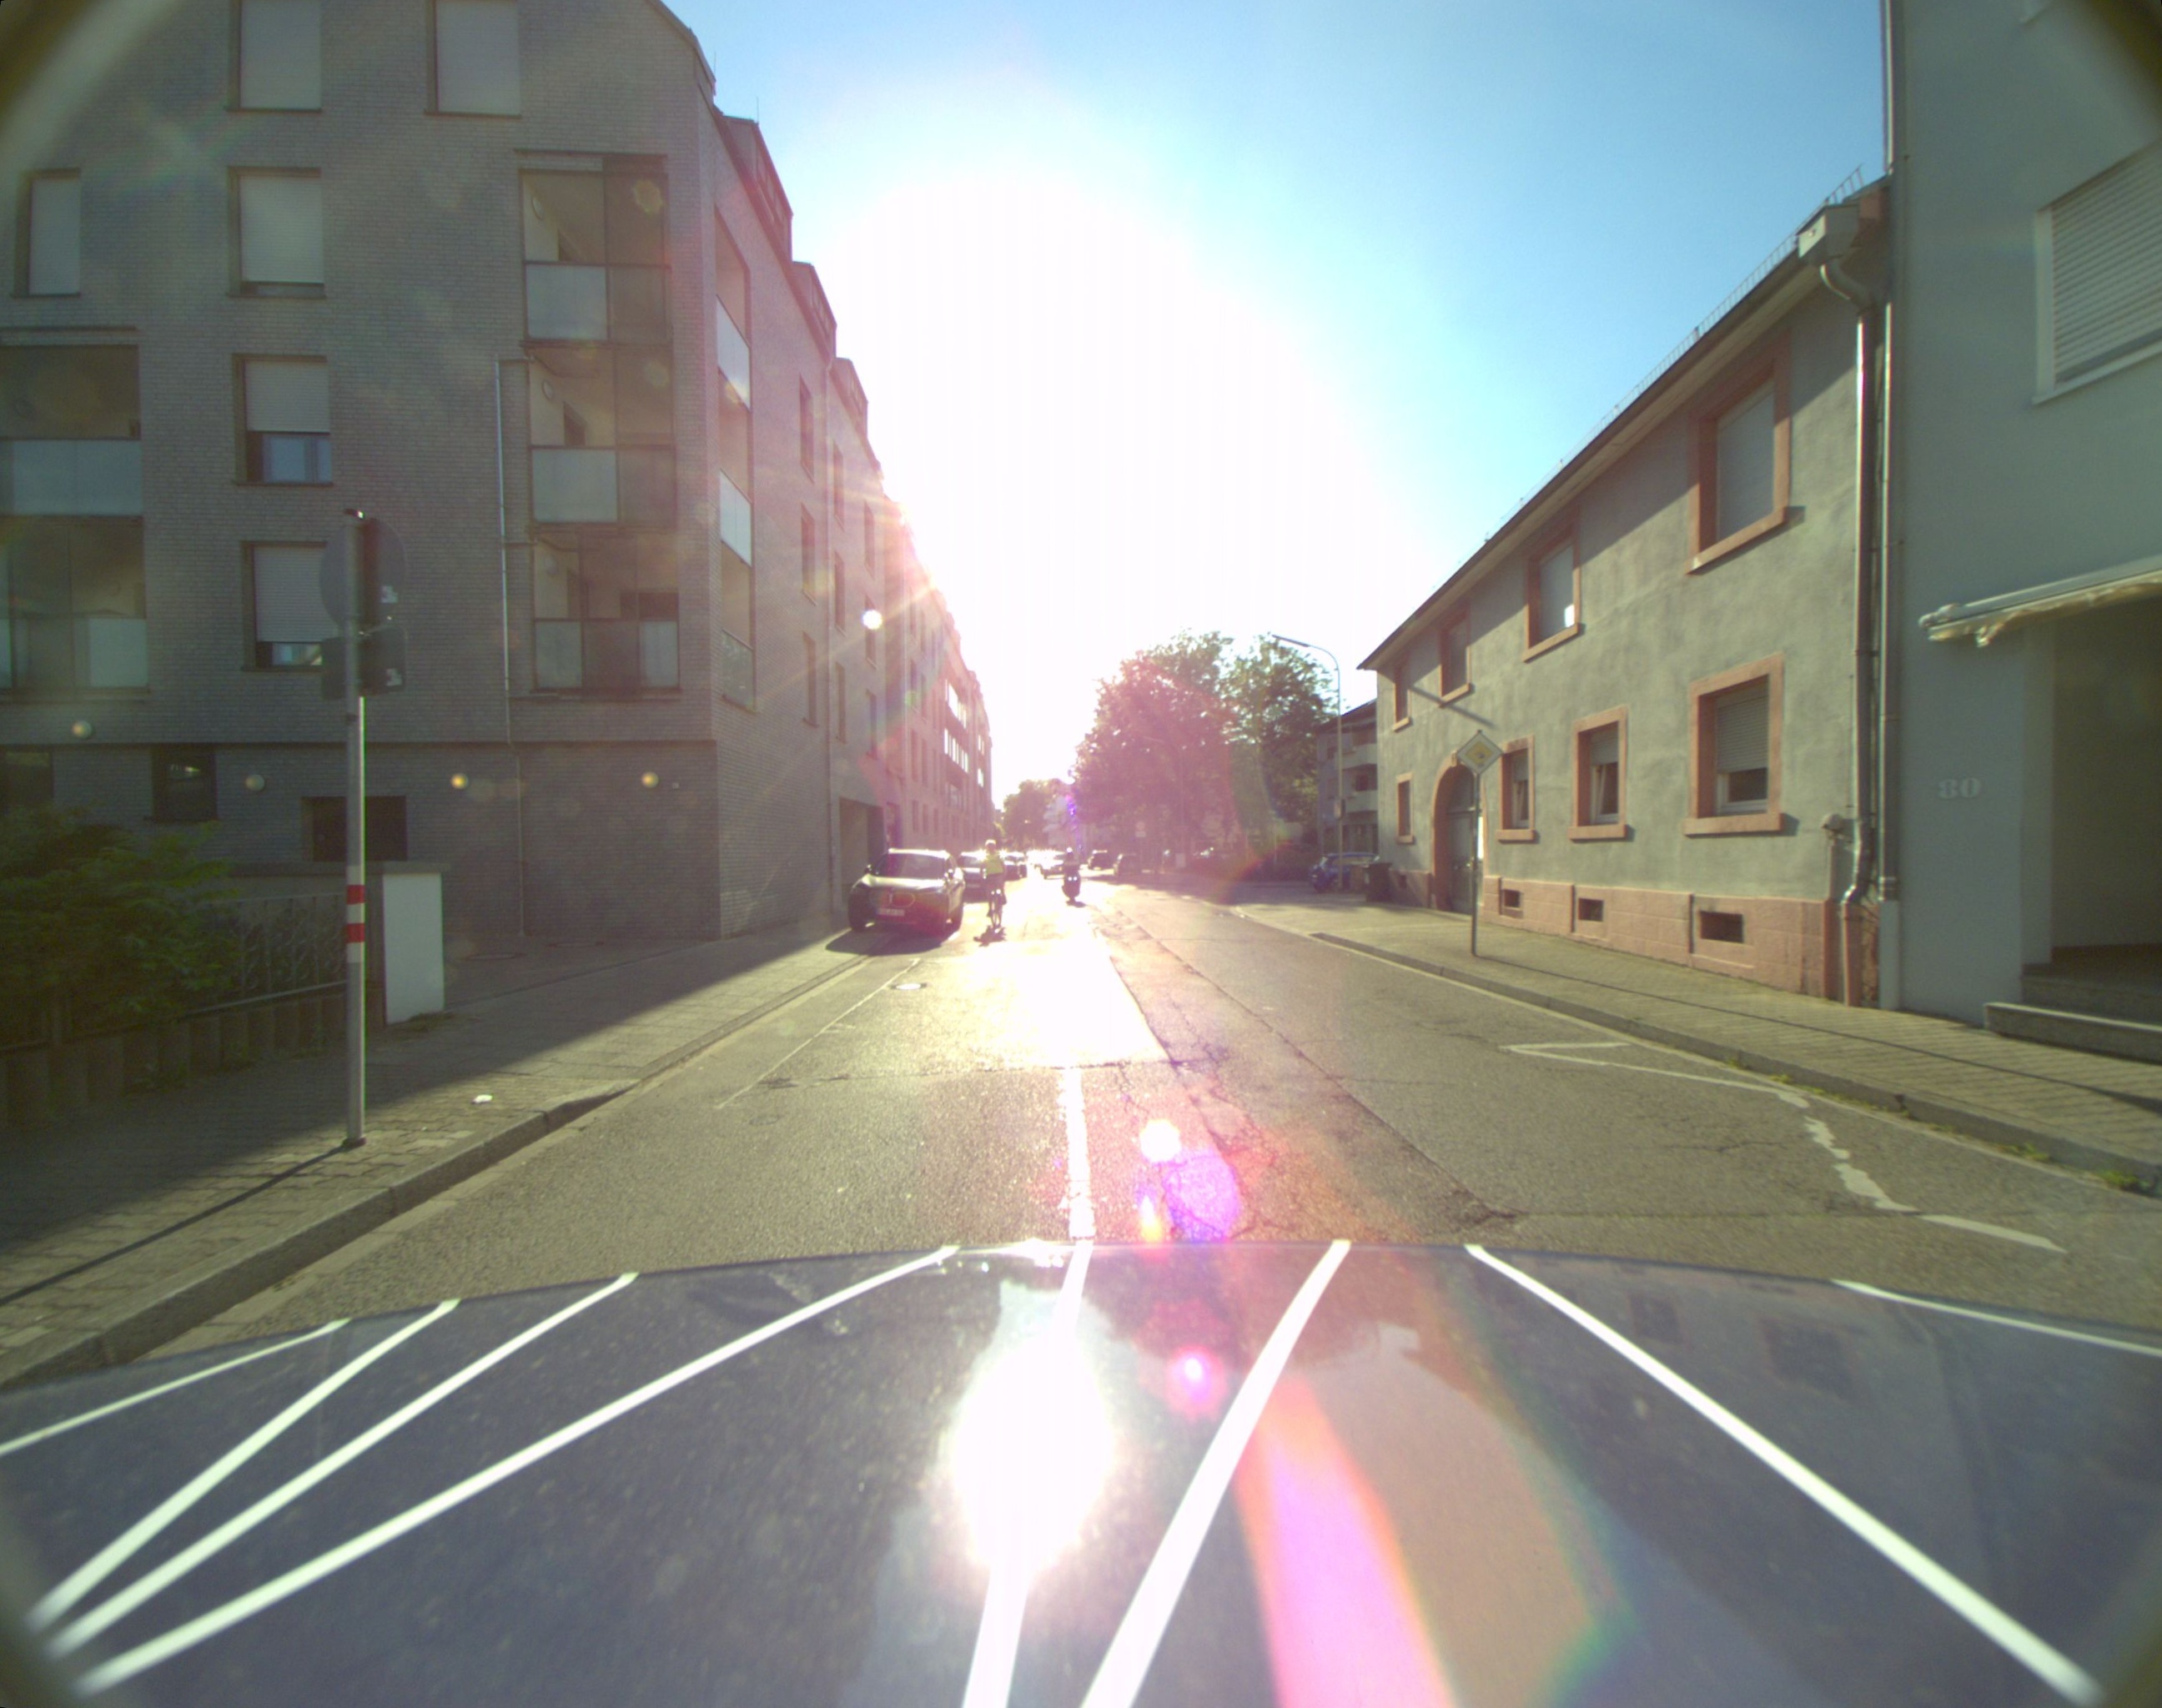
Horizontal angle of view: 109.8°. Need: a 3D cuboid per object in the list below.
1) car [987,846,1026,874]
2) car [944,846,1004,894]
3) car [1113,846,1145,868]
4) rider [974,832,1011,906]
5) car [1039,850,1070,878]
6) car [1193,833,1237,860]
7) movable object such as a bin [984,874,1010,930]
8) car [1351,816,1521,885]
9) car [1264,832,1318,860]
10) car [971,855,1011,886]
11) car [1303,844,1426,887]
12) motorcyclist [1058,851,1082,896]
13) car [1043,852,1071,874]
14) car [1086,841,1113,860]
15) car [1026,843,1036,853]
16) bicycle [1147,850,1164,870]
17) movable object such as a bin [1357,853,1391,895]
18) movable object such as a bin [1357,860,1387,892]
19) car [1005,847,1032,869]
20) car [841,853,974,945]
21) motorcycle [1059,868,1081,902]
[{"bbox_3d":[-4.811,0.346,49.661,1.894,1.702,4.774,-1,0,1],"label":"car"},{"bbox_3d":[-3.985,0.551,28.991,1.999,1.643,4.760,-1,0,-5],"label":"car"},{"bbox_3d":[3.397,0.174,54.531,1.702,1.483,3.997,-1,1,-4],"label":"car"},{"bbox_3d":[-1.965,0.315,17.038,0.655,1.553,1.082,-4,3,-4],"label":"rider"},{"bbox_3d":[-1.736,0.596,48.087,1.709,1.570,3.913,-3,1,-5],"label":"car"},{"bbox_3d":[9.958,-0.526,56.808,1.849,1.884,4.902,-2,1,-7],"label":"car"},{"bbox_3d":[-1.862,1.036,16.970,0.456,1.027,1.839,-4,3,-4],"label":"movable object such as a bin"},{"bbox_3d":[11.274,-0.085,24.361,4.374,1.784,1.988,-5,-1,-1],"label":"car"},{"bbox_3d":[15.897,-0.608,57.645,2.025,1.937,4.317,-2,1,-15],"label":"car"},{"bbox_3d":[-4.568,0.797,39.010,1.717,1.396,4.071,2,1,-3],"label":"car"},{"bbox_3d":[10.405,0.400,28.041,3.778,1.521,2.000,0,0,-2],"label":"car"},{"bbox_3d":[-0.372,0.640,24.968,0.718,1.425,0.746,-1,2,-5],"label":"motorcyclist"},{"bbox_3d":[-1.825,0.645,56.518,1.822,1.458,4.267,-1,1,-4],"label":"car"},{"bbox_3d":[1.766,-0.364,73.371,1.937,1.695,5.097,-4,1,-5],"label":"car"},{"bbox_3d":[-10.569,-1.331,159.992,1.999,2.002,3.998,-1,1,-2],"label":"car"},{"bbox_3d":[3.952,0.288,40.304,0.705,0.997,1.941,-2,1,1],"label":"bicycle"},{"bbox_3d":[7.929,0.520,20.587,0.600,1.088,0.751,-2,1,-2],"label":"movable object such as a bin"},{"bbox_3d":[8.221,0.625,21.485,0.600,0.867,0.606,-1,1,-5],"label":"movable object such as a bin"},{"bbox_3d":[-4.576,0.263,55.667,1.822,1.458,4.267,-1,1,-4],"label":"car"},{"bbox_3d":[-3.481,0.816,16.096,1.859,1.627,4.621,1,0,-2],"label":"car"},{"bbox_3d":[-0.392,1.001,25.155,0.599,1.004,1.820,-1,1,-4],"label":"motorcycle"}]
